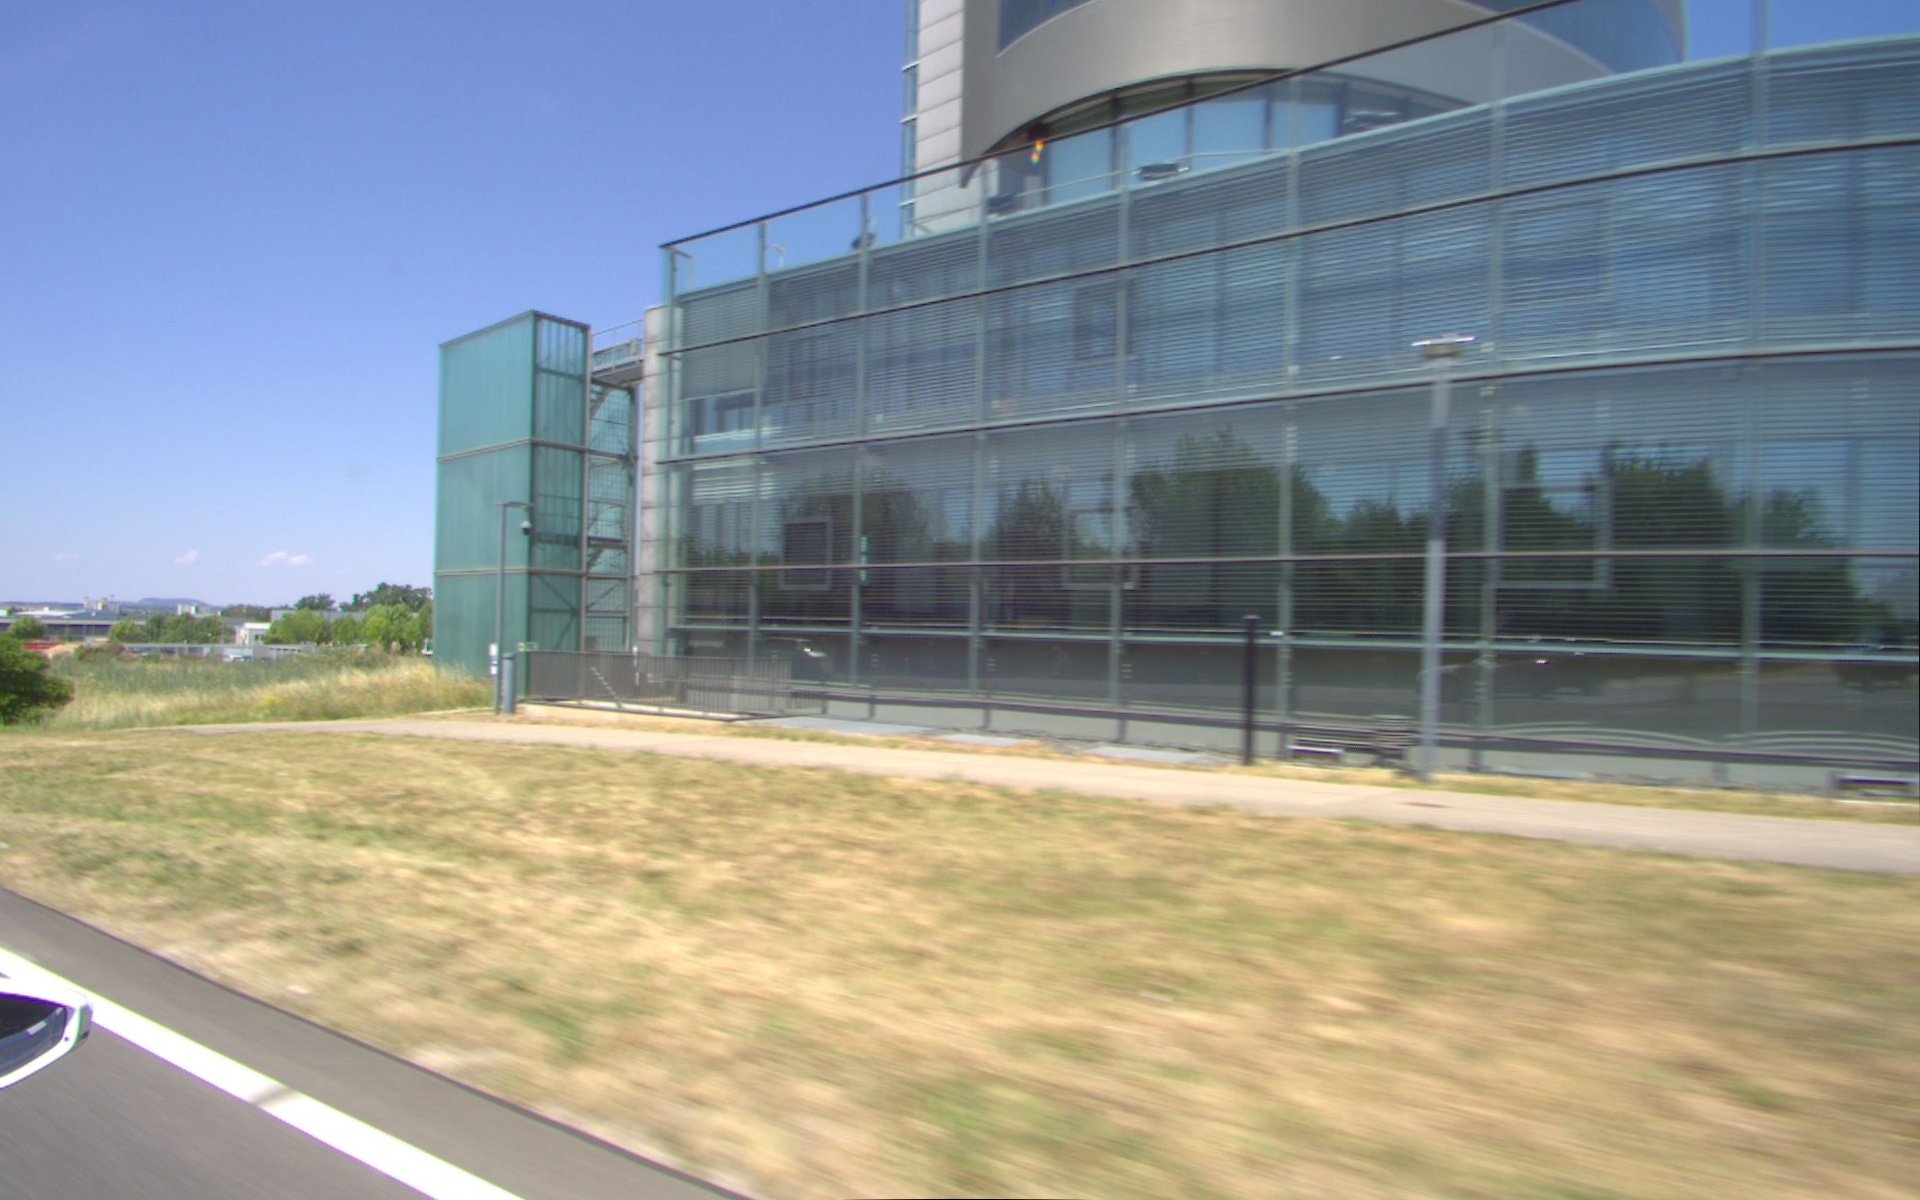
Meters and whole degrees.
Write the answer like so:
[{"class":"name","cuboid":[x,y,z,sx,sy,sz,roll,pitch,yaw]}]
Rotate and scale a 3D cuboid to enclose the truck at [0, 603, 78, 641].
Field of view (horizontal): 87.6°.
[{"class":"truck","cuboid":[-97.541,2.225,103.311,9.288,3.732,3.113,3,-1,-31]}]
